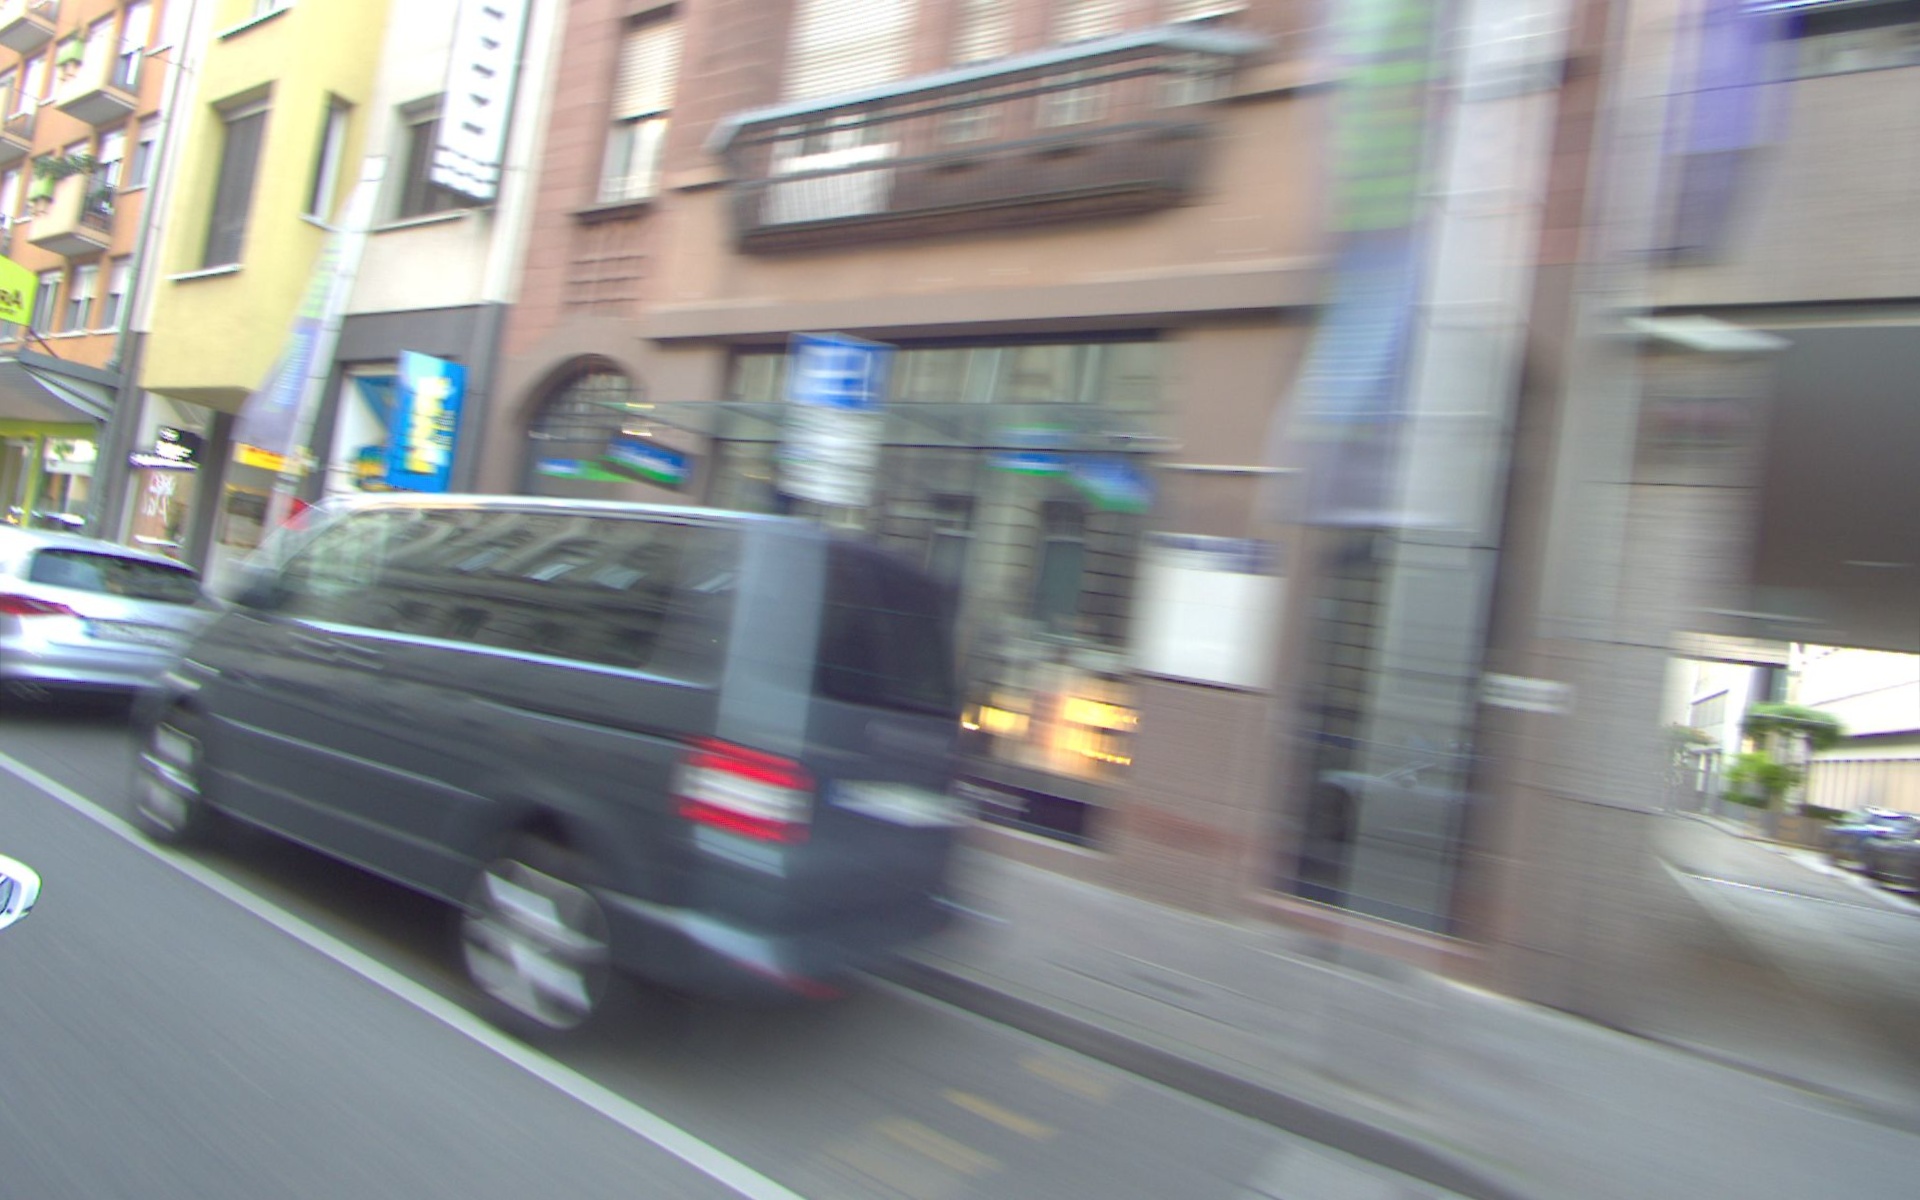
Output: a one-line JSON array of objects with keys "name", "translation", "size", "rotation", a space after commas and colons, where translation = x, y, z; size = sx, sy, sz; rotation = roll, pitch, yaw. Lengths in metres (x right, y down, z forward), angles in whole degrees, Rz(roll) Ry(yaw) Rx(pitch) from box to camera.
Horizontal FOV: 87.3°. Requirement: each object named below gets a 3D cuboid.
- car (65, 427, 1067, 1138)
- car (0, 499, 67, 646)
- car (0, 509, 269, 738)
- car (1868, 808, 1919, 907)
[{"name": "car", "translation": [-2.226, 0.442, 5.102], "size": [4.970, 2.079, 1.853], "rotation": [7, -4, 32]}, {"name": "car", "translation": [-12.270, -0.618, 11.594], "size": [4.103, 1.531, 1.625], "rotation": [8, -5, 31]}, {"name": "car", "translation": [-8.124, 0.016, 8.815], "size": [4.425, 1.467, 1.693], "rotation": [8, -5, 34]}, {"name": "car", "translation": [17.668, 4.663, 17.668], "size": [1.676, 1.575, 3.689], "rotation": [7, -5, 30]}]
